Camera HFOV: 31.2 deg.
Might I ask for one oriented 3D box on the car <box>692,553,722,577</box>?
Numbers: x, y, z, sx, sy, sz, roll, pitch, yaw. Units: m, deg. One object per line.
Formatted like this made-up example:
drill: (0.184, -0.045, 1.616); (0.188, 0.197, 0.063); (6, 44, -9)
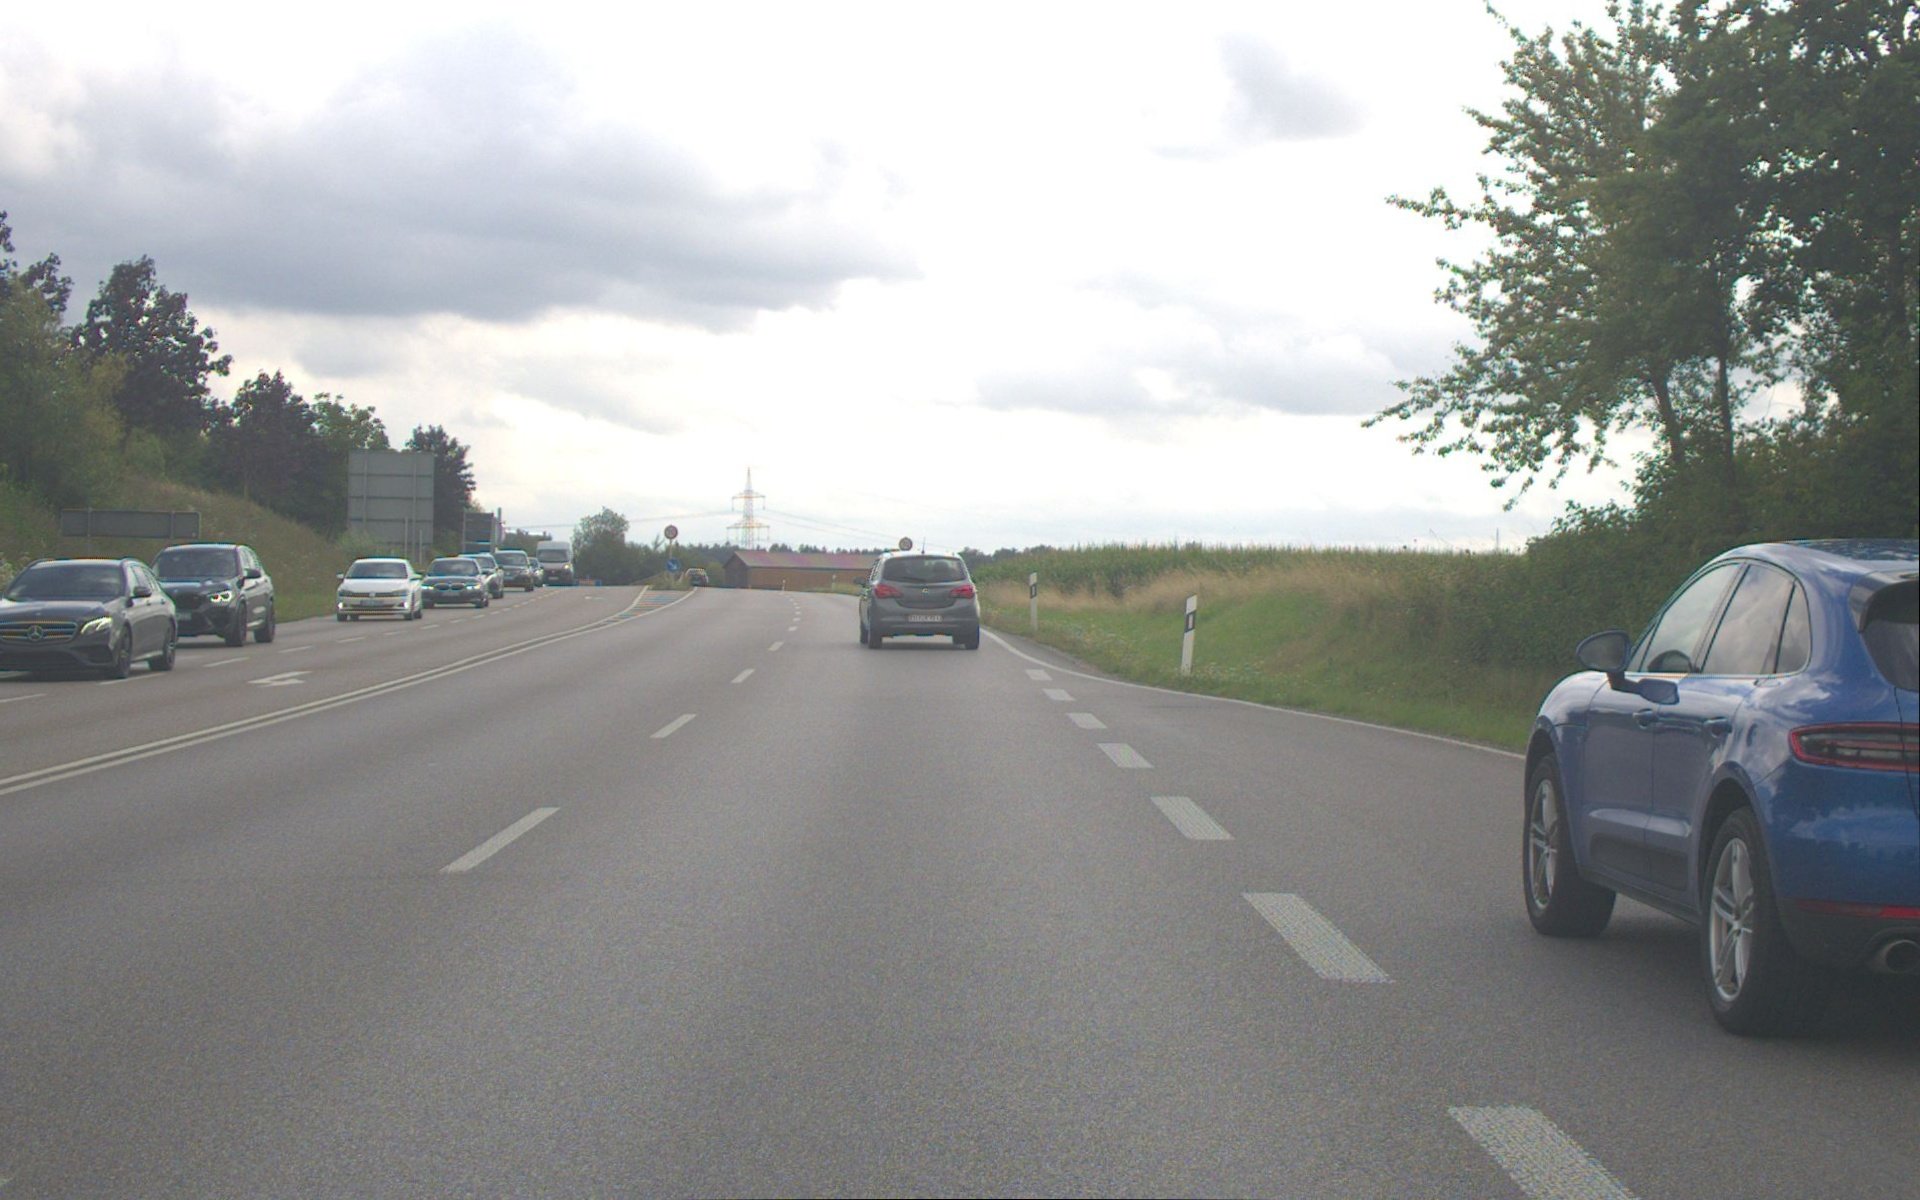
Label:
car: (-18.256, -2.516, 248.082); (1.993, 1.709, 4.000); (0, 1, -2)

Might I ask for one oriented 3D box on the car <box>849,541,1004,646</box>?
car: (-0.559, -0.122, 53.243); (1.993, 1.530, 4.001); (1, 1, -6)

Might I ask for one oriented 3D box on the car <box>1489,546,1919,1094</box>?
car: (3.352, 0.620, 12.302); (1.993, 1.565, 4.757); (2, 1, -2)

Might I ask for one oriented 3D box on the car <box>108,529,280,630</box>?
car: (-12.675, -0.359, 57.175); (1.993, 1.605, 4.993); (0, 1, -3)

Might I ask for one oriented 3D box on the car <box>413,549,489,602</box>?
car: (-14.663, -0.730, 99.215); (1.993, 1.503, 4.001); (0, 1, -6)

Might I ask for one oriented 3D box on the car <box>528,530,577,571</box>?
car: (-22.367, -2.731, 188.849); (2.363, 2.204, 5.923); (0, 1, -4)

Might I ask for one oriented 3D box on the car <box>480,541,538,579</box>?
car: (-18.291, -1.615, 139.522); (1.993, 1.503, 4.001); (0, 1, -3)

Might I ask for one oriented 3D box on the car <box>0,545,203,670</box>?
car: (-11.105, 0.049, 43.476); (1.993, 1.489, 4.993); (0, 1, 0)

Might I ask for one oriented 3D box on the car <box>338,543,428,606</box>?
car: (-13.454, -0.608, 80.321); (1.667, 1.437, 4.147); (0, 1, -4)
